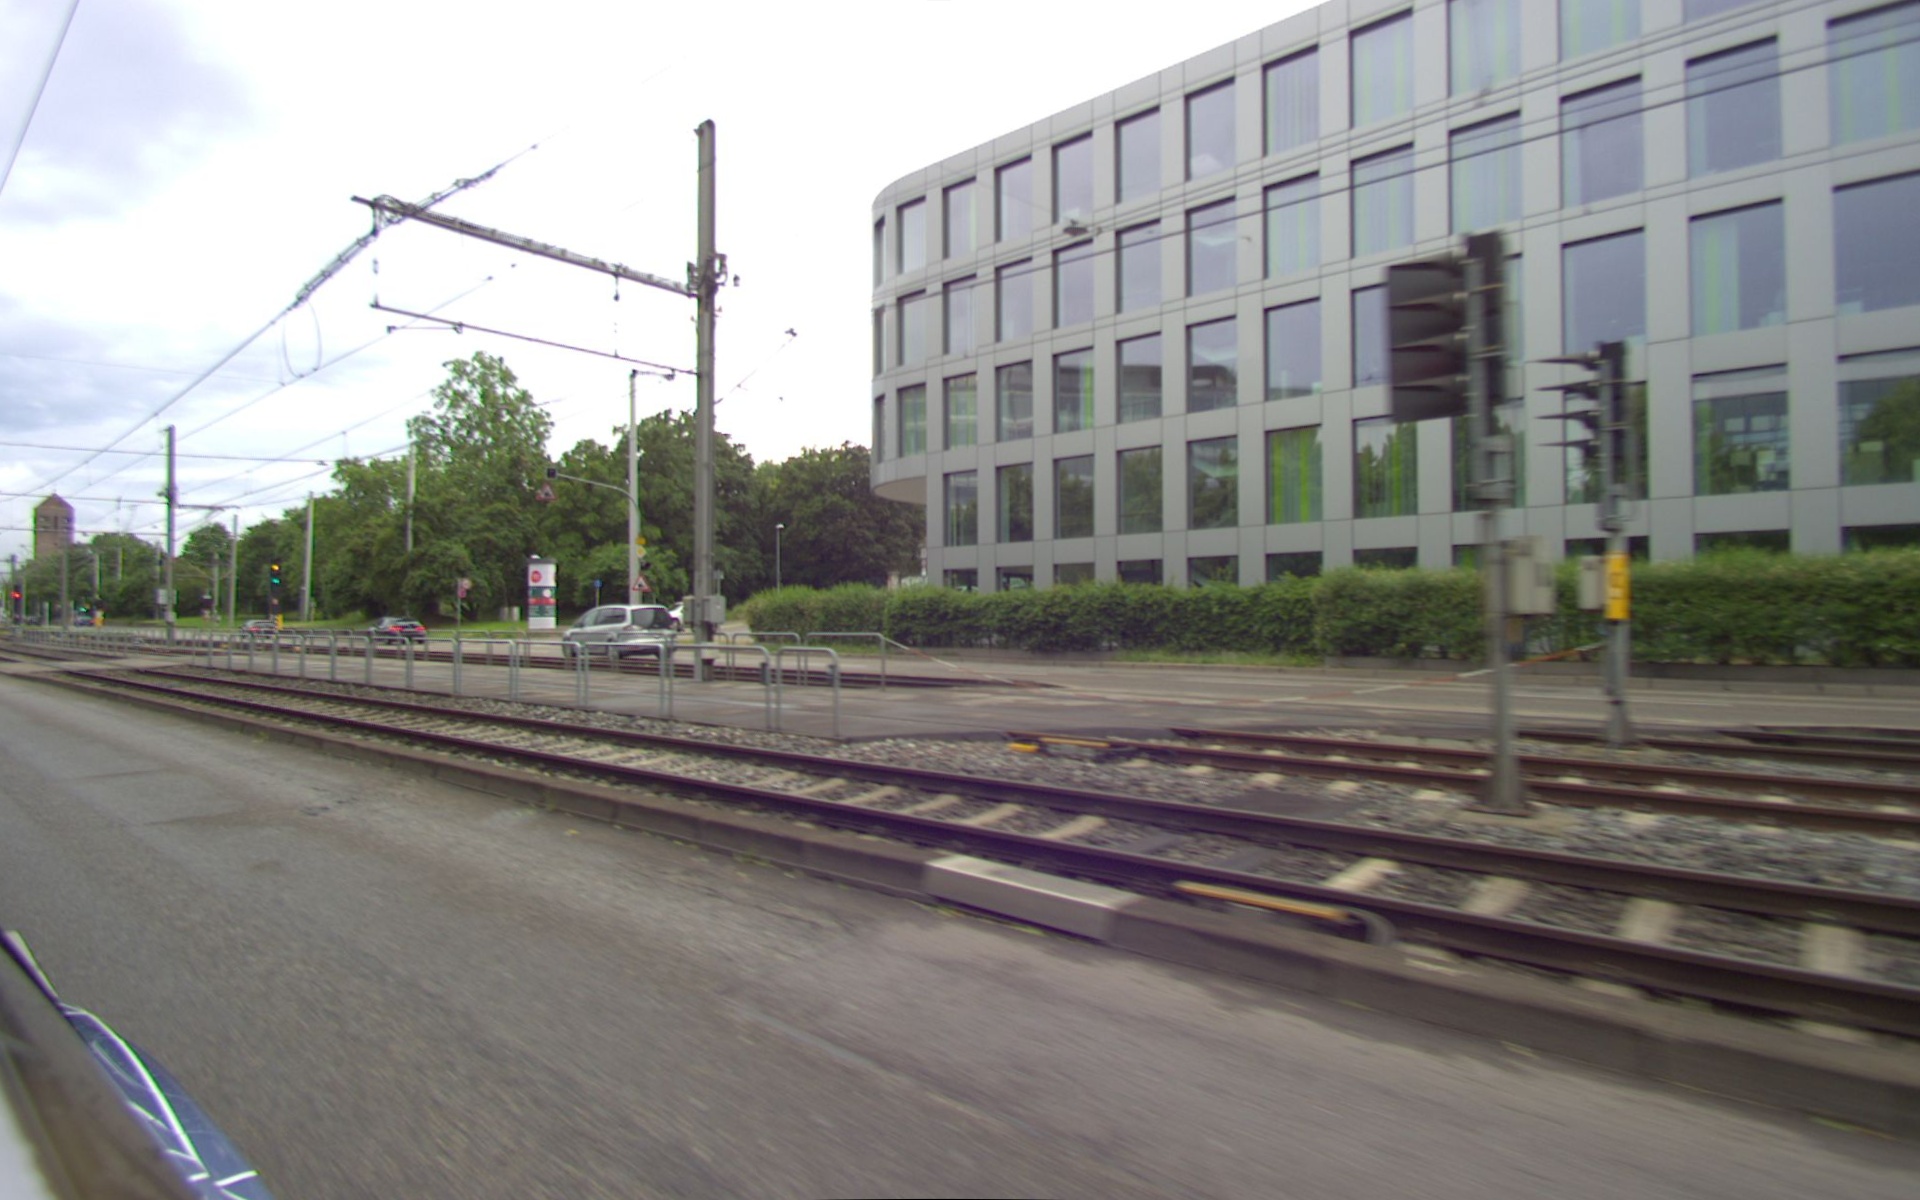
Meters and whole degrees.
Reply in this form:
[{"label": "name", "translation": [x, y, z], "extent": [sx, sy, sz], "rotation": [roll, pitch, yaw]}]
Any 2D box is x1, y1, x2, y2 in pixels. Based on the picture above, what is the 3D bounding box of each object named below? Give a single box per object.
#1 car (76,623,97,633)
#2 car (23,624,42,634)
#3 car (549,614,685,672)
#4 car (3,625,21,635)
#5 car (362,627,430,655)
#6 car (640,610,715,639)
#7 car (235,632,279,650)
[{"label": "car", "translation": [-119.868, 3.851, 138.861], "extent": [3.901, 1.408, 1.741], "rotation": [-2, -2, 44]}, {"label": "car", "translation": [-155.695, 4.811, 169.853], "extent": [4.848, 1.607, 1.926], "rotation": [-2, -2, 44]}, {"label": "car", "translation": [-10.665, 1.277, 31.302], "extent": [4.883, 1.657, 1.882], "rotation": [-1, -2, 42]}, {"label": "car", "translation": [-152.053, 4.787, 162.276], "extent": [4.309, 1.497, 1.870], "rotation": [-2, -2, 44]}, {"label": "car", "translation": [-29.275, 2.098, 52.487], "extent": [4.257, 1.357, 1.779], "rotation": [-1, -2, 41]}, {"label": "car", "translation": [-16.669, 1.429, 59.824], "extent": [1.923, 1.464, 3.882], "rotation": [-2, 1, 38]}, {"label": "car", "translation": [-51.326, 2.976, 73.839], "extent": [3.986, 1.253, 1.738], "rotation": [-1, -2, 41]}]
